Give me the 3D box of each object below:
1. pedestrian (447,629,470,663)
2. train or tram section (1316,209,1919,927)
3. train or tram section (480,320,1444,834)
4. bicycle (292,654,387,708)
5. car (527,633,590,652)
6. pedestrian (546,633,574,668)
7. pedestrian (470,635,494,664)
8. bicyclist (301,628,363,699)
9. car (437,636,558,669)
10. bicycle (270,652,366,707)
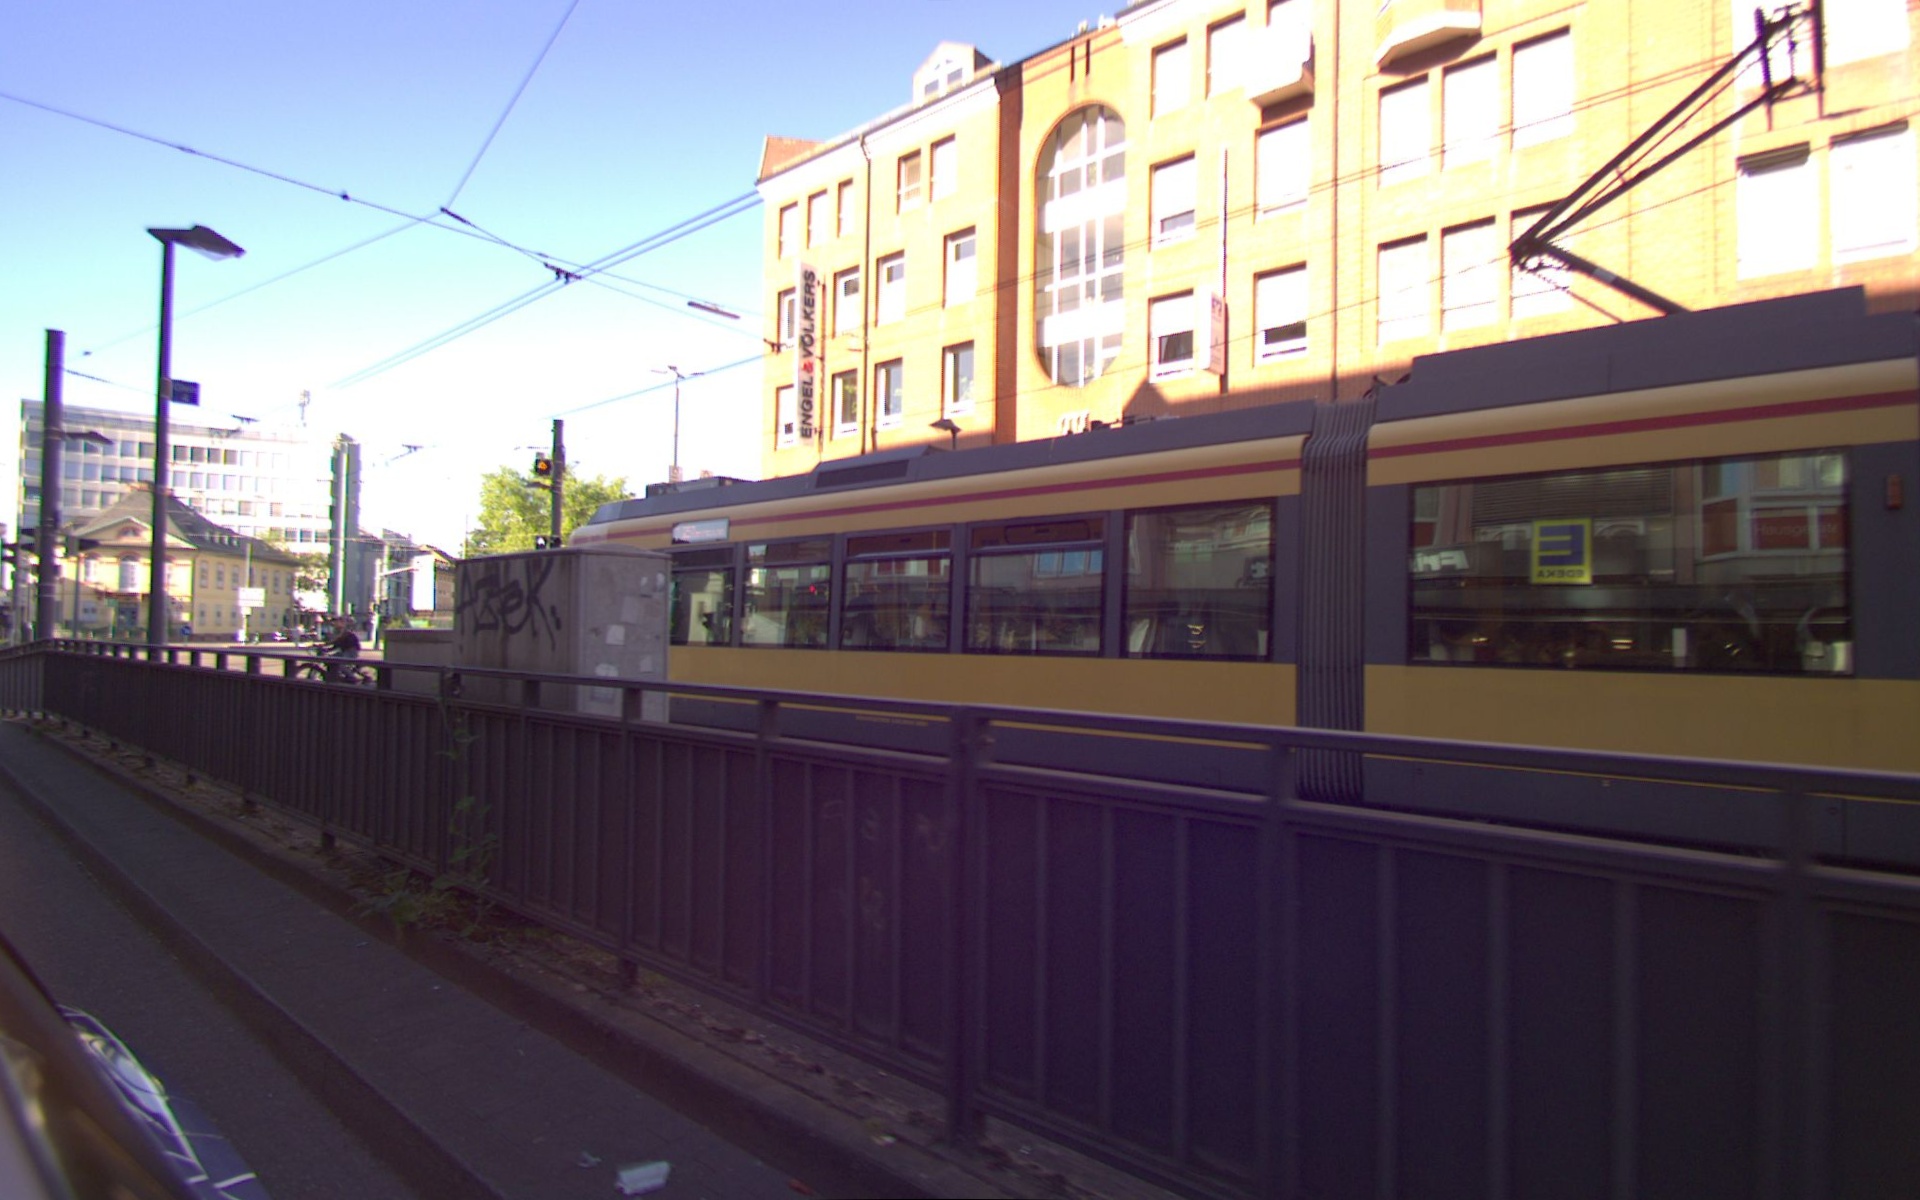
[{"bbox_3d":[-31.121,2.854,62.822,1.092,2.029,1.217,0,-1,-18],"label":"pedestrian"},{"bbox_3d":[9.696,-0.298,2.865,16.479,3.672,2.942,-2,-2,42],"label":"train or tram section"},{"bbox_3d":[-1.674,-0.053,12.980,13.939,3.672,2.942,-1,-1,42],"label":"train or tram section"},{"bbox_3d":[-12.381,1.598,20.241,0.417,1.029,1.573,-1,-3,35],"label":"bicycle"},{"bbox_3d":[-30.106,3.191,75.957,1.926,1.369,4.077,-1,-3,34],"label":"car"},{"bbox_3d":[-24.347,3.077,61.661,1.422,2.029,1.182,-1,-1,-13],"label":"pedestrian"},{"bbox_3d":[-35.033,3.604,74.151,1.507,2.029,1.665,0,-1,-29],"label":"pedestrian"},{"bbox_3d":[-12.620,1.256,20.343,0.900,1.391,0.741,-1,-3,36],"label":"bicyclist"},{"bbox_3d":[-20.249,2.294,44.525,4.612,1.369,2.006,1,-2,-16],"label":"car"},{"bbox_3d":[-12.895,1.585,20.362,0.417,1.041,1.573,-1,-3,35],"label":"bicycle"}]
